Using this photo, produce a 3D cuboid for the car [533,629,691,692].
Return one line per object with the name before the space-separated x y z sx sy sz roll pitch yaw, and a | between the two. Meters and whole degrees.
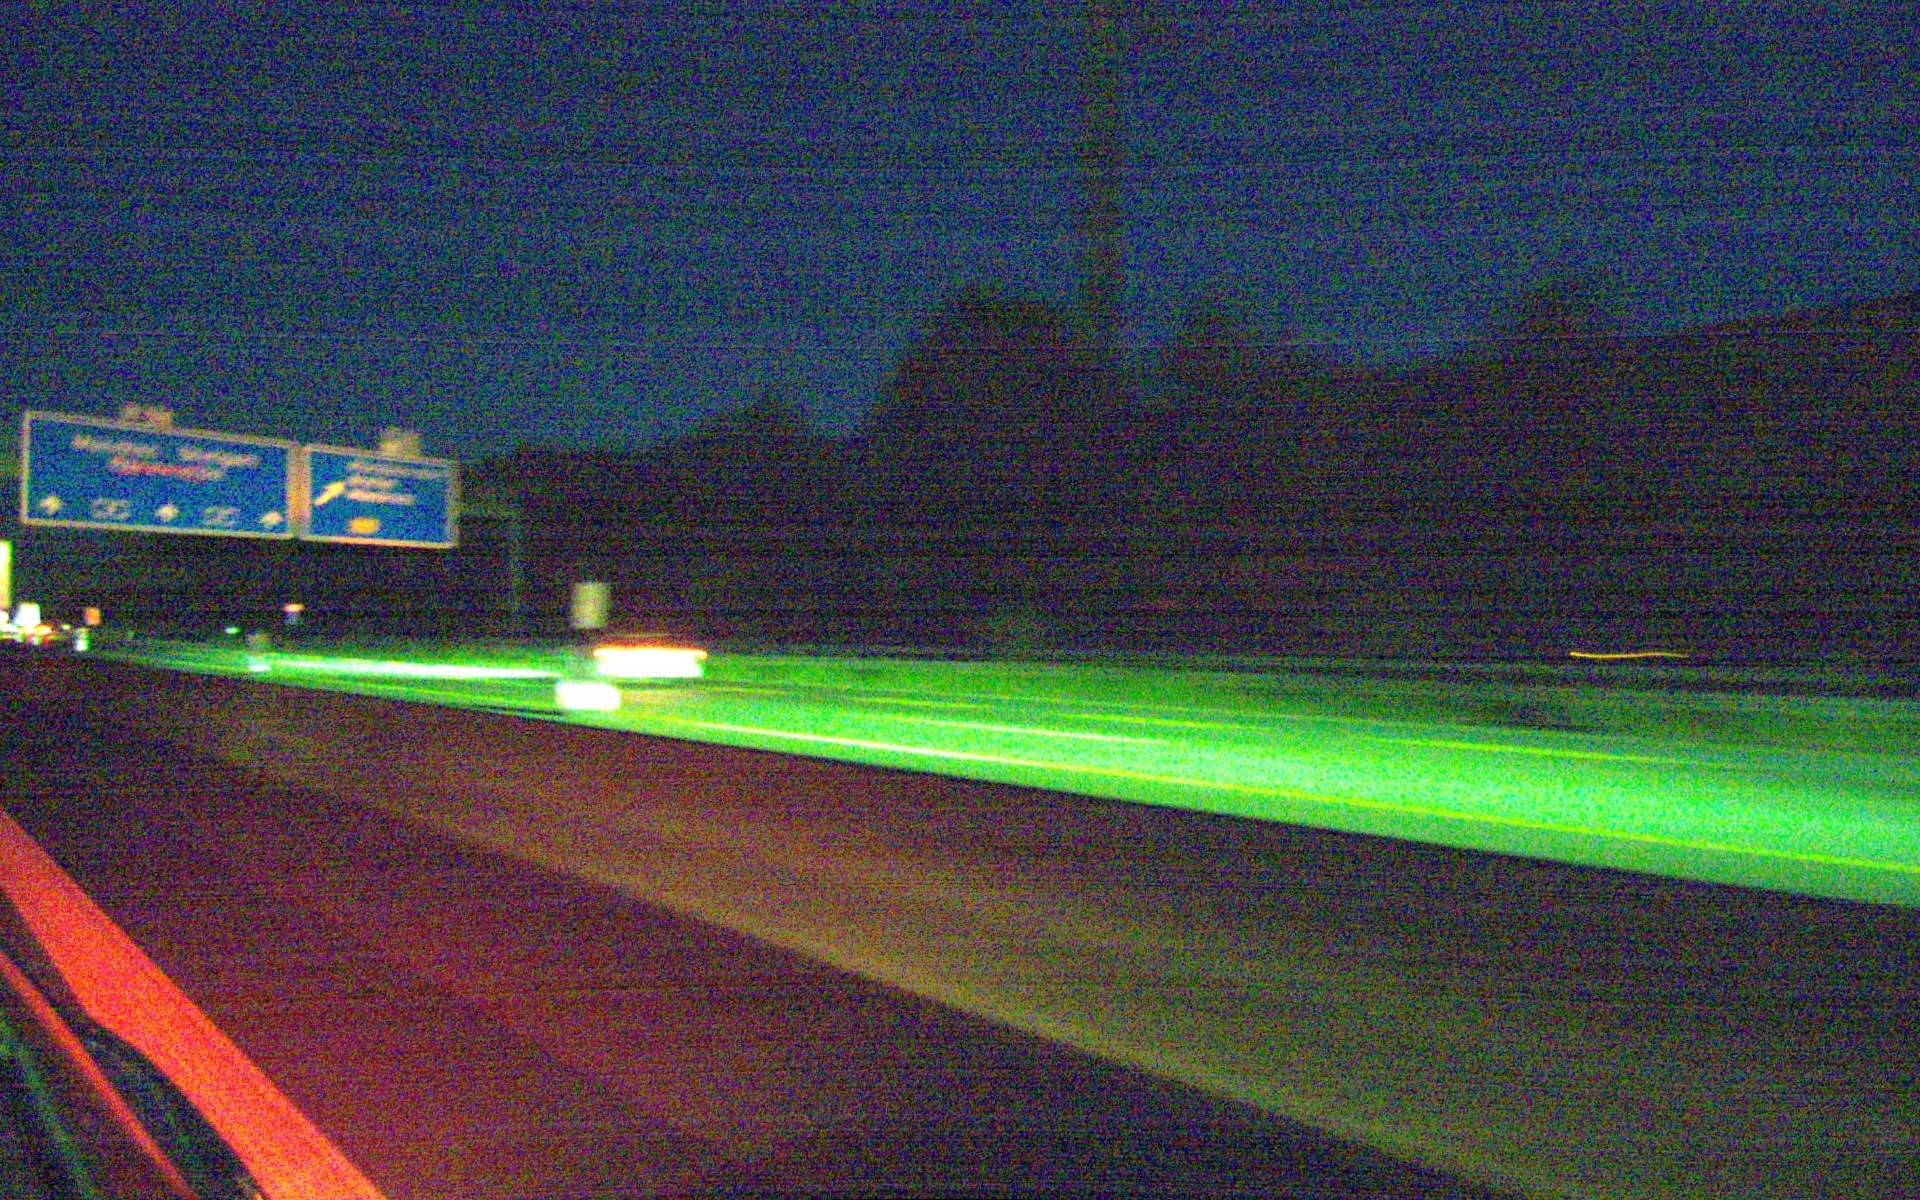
car | -9.387 1.555 27.084 4.939 1.490 1.732 -1 -3 41
